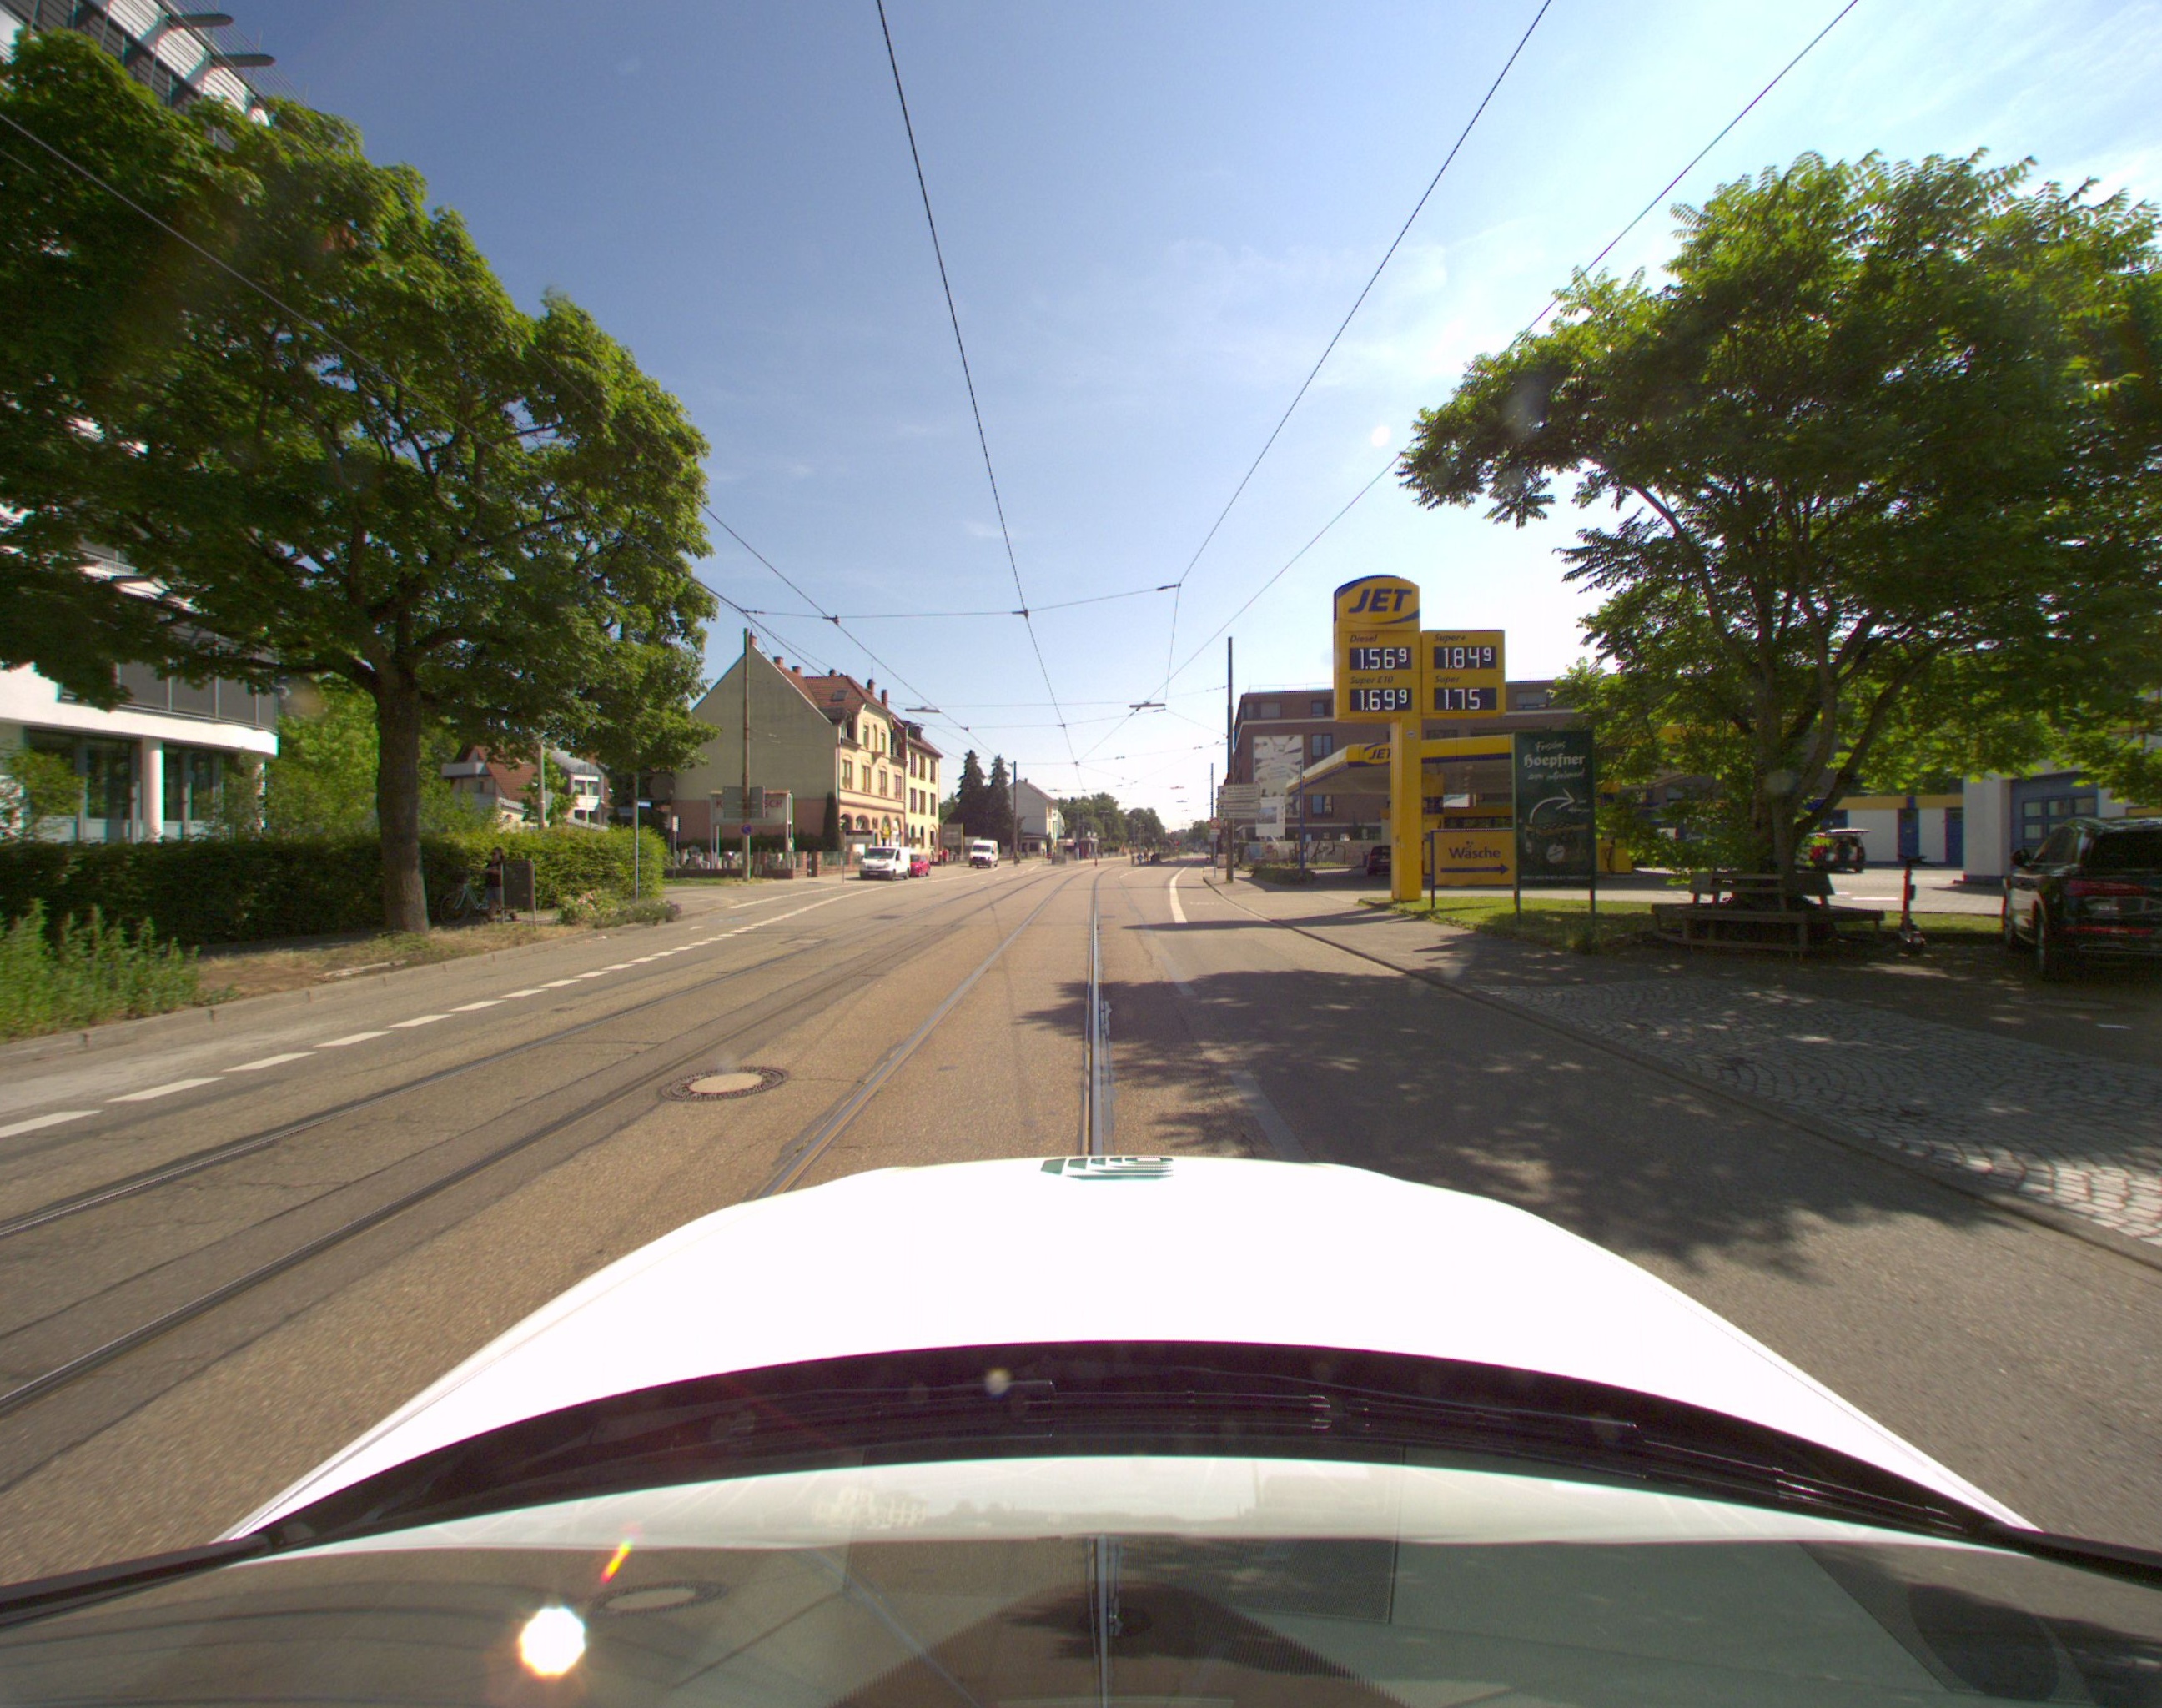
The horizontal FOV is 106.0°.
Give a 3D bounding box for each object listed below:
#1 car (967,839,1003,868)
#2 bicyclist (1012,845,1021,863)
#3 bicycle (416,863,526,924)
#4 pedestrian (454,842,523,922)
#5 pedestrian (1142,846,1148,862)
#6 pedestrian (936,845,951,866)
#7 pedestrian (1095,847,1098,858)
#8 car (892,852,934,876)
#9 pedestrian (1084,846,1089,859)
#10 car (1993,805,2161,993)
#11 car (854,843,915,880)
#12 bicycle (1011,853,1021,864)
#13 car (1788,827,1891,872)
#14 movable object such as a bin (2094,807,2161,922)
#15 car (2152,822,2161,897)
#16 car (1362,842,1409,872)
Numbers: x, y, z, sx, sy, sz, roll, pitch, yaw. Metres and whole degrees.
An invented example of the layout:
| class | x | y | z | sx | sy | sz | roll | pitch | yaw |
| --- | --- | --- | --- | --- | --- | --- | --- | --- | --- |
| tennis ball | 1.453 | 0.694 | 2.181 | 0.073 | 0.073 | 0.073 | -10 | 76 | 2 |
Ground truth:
| class | x | y | z | sx | sy | sz | roll | pitch | yaw |
| --- | --- | --- | --- | --- | --- | --- | --- | --- | --- |
| car | -9.010 | -0.071 | 77.051 | 2.320 | 2.535 | 6.512 | 2 | 0 | 3 |
| bicyclist | -6.070 | -0.017 | 76.426 | 0.713 | 1.724 | 0.988 | 0 | 0 | 1 |
| bicycle | -12.292 | 0.767 | 16.514 | 0.634 | 1.117 | 2.067 | -1 | 0 | 1 |
| pedestrian | -12.018 | 0.557 | 16.549 | 0.684 | 1.563 | 0.987 | 1 | 0 | -3 |
| pedestrian | 7.220 | 0.003 | 91.740 | 0.553 | 1.760 | 0.794 | -1 | 0 | 3 |
| pedestrian | -12.385 | 0.136 | 73.284 | 0.936 | 1.815 | 1.133 | 0 | 0 | 11 |
| pedestrian | 2.311 | -0.210 | 120.991 | 0.414 | 1.690 | 0.706 | 0 | 0 | -5 |
| car | -10.919 | 0.629 | 53.192 | 1.713 | 1.406 | 4.004 | 0 | 1 | 2 |
| pedestrian | 0.705 | -0.169 | 110.168 | 0.703 | 1.690 | 0.416 | 0 | 0 | 1 |
| car | 11.287 | 0.352 | 8.549 | 1.995 | 1.640 | 4.687 | -1 | 0 | 45 |
| car | -11.235 | 0.376 | 47.029 | 2.075 | 2.013 | 4.912 | 0 | 0 | 3 |
| bicycle | -6.068 | 0.442 | 76.400 | 0.606 | 0.984 | 2.166 | 0 | 0 | 4 |
| car | 35.629 | -0.229 | 38.450 | 1.740 | 1.982 | 5.336 | -1 | 0 | 22 |
| movable object such as a bin | 14.790 | 0.123 | 10.630 | 1.411 | 1.502 | 1.381 | -1 | 0 | 4 |
| car | 22.745 | 0.109 | 14.230 | 4.499 | 1.460 | 1.904 | 0 | 1 | 27 |
| car | 15.381 | 0.118 | 41.019 | 1.739 | 1.455 | 4.435 | -1 | 0 | 26 |
